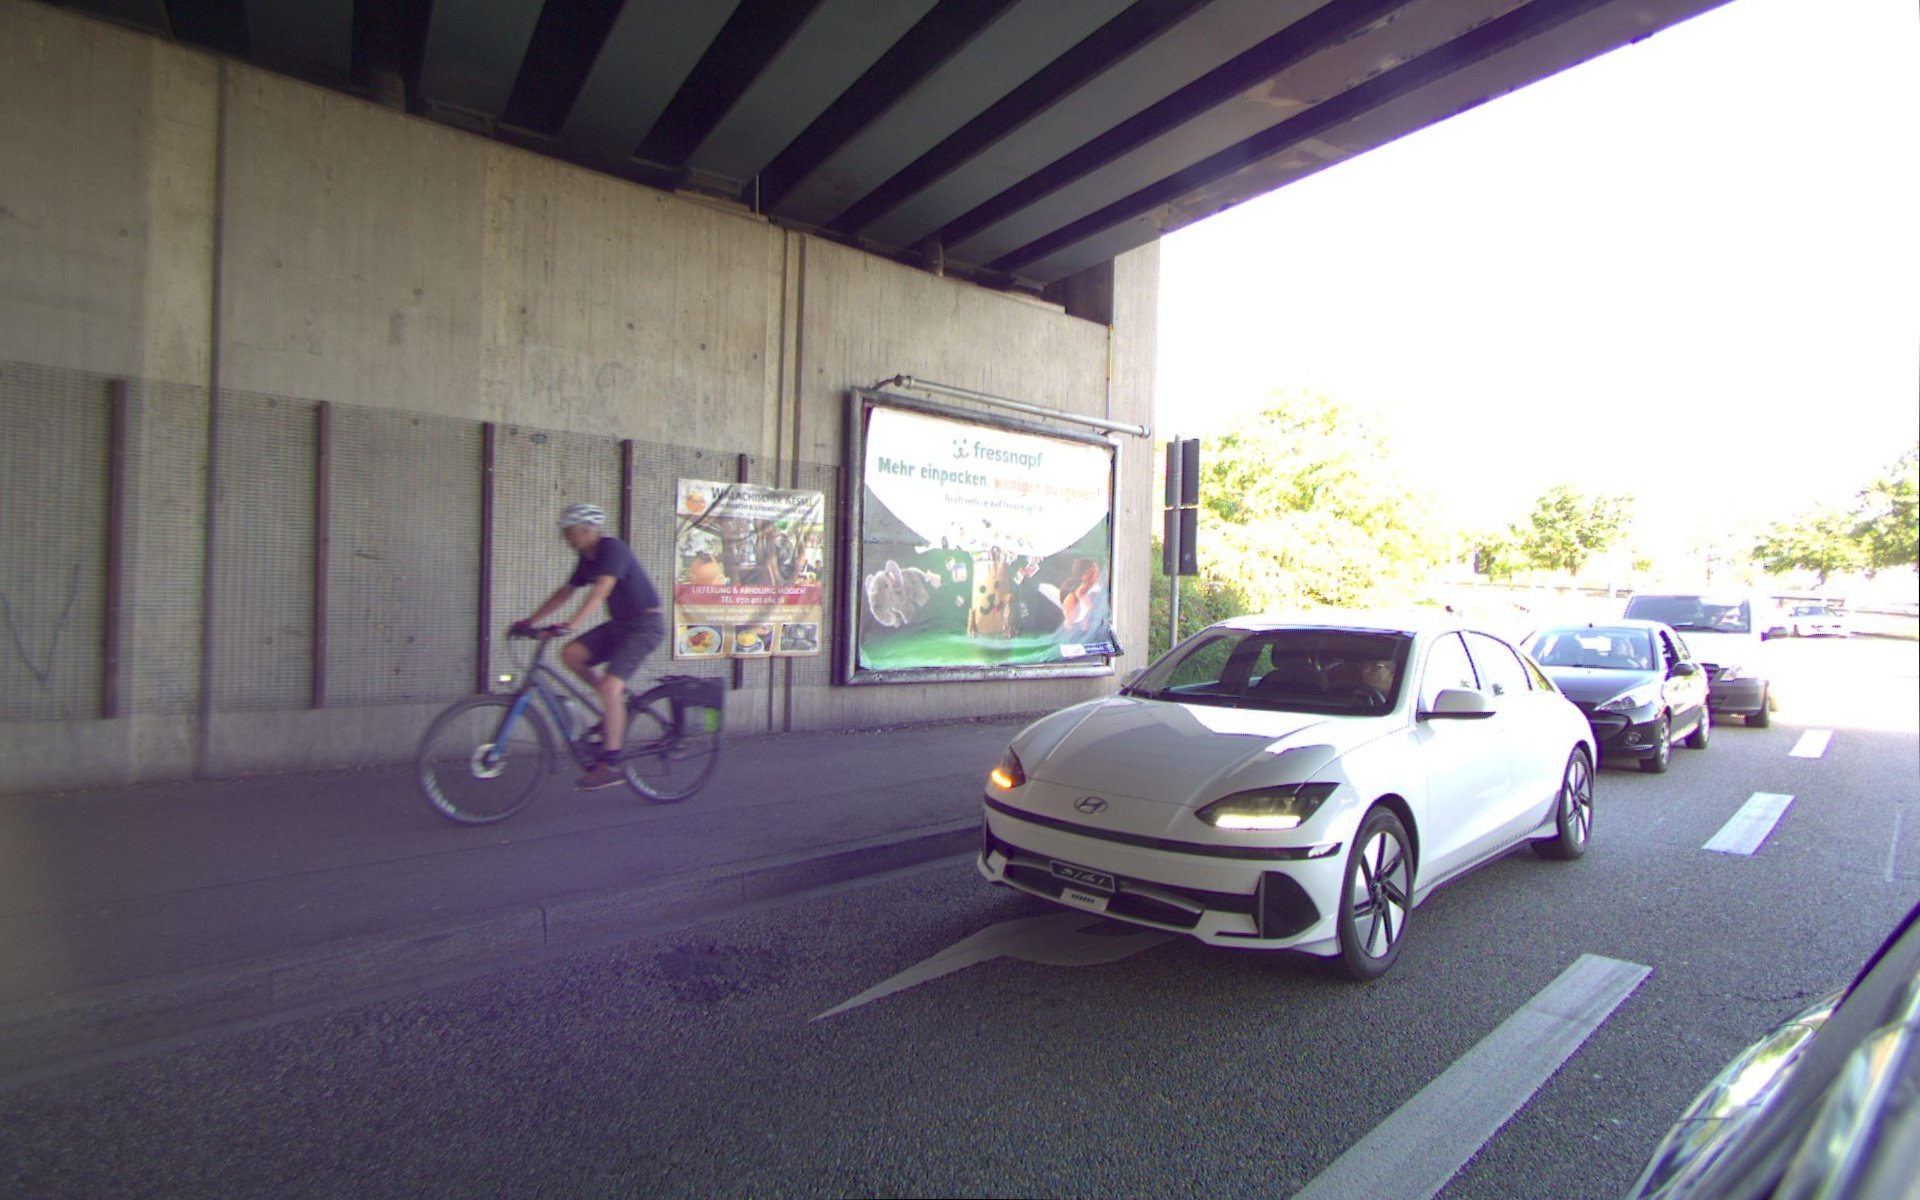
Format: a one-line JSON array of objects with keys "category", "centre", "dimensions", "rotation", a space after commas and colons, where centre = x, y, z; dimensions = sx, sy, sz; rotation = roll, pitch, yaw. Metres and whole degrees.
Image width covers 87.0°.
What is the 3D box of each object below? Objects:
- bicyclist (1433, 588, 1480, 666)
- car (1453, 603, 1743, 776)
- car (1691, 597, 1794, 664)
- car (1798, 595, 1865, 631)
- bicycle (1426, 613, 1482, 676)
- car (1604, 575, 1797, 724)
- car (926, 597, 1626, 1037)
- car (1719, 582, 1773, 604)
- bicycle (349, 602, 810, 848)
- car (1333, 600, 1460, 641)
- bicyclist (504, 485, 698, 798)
[{"category": "bicyclist", "centre": [10.275, 0.548, 20.936], "dimensions": [0.651, 1.552, 0.835], "rotation": [4, 2, 37]}, {"category": "car", "centre": [6.800, 0.777, 10.646], "dimensions": [3.654, 1.474, 1.747], "rotation": [0, 0, -43]}, {"category": "car", "centre": [20.496, 0.714, 26.490], "dimensions": [1.990, 1.570, 4.359], "rotation": [0, 1, 39]}, {"category": "car", "centre": [38.617, 0.535, 44.912], "dimensions": [1.725, 1.421, 3.827], "rotation": [0, 2, 33]}, {"category": "bicycle", "centre": [10.169, 0.882, 20.817], "dimensions": [0.649, 1.181, 1.754], "rotation": [4, 2, 37]}, {"category": "car", "centre": [11.075, 0.608, 14.987], "dimensions": [1.896, 1.859, 4.762], "rotation": [0, 0, 42]}, {"category": "car", "centre": [2.089, 0.727, 5.633], "dimensions": [4.586, 1.474, 1.747], "rotation": [0, 0, -44]}, {"category": "car", "centre": [60.185, -0.555, 77.549], "dimensions": [1.781, 1.626, 4.274], "rotation": [1, 1, 16]}, {"category": "bicycle", "centre": [-2.141, 0.621, 6.002], "dimensions": [2.426, 1.160, 0.767], "rotation": [1, 2, -42]}, {"category": "car", "centre": [18.076, 0.819, 42.003], "dimensions": [4.448, 1.616, 1.820], "rotation": [0, 0, 0]}, {"category": "bicyclist", "centre": [-2.123, 0.218, 5.982], "dimensions": [0.871, 1.676, 0.748], "rotation": [0, 0, -41]}]
